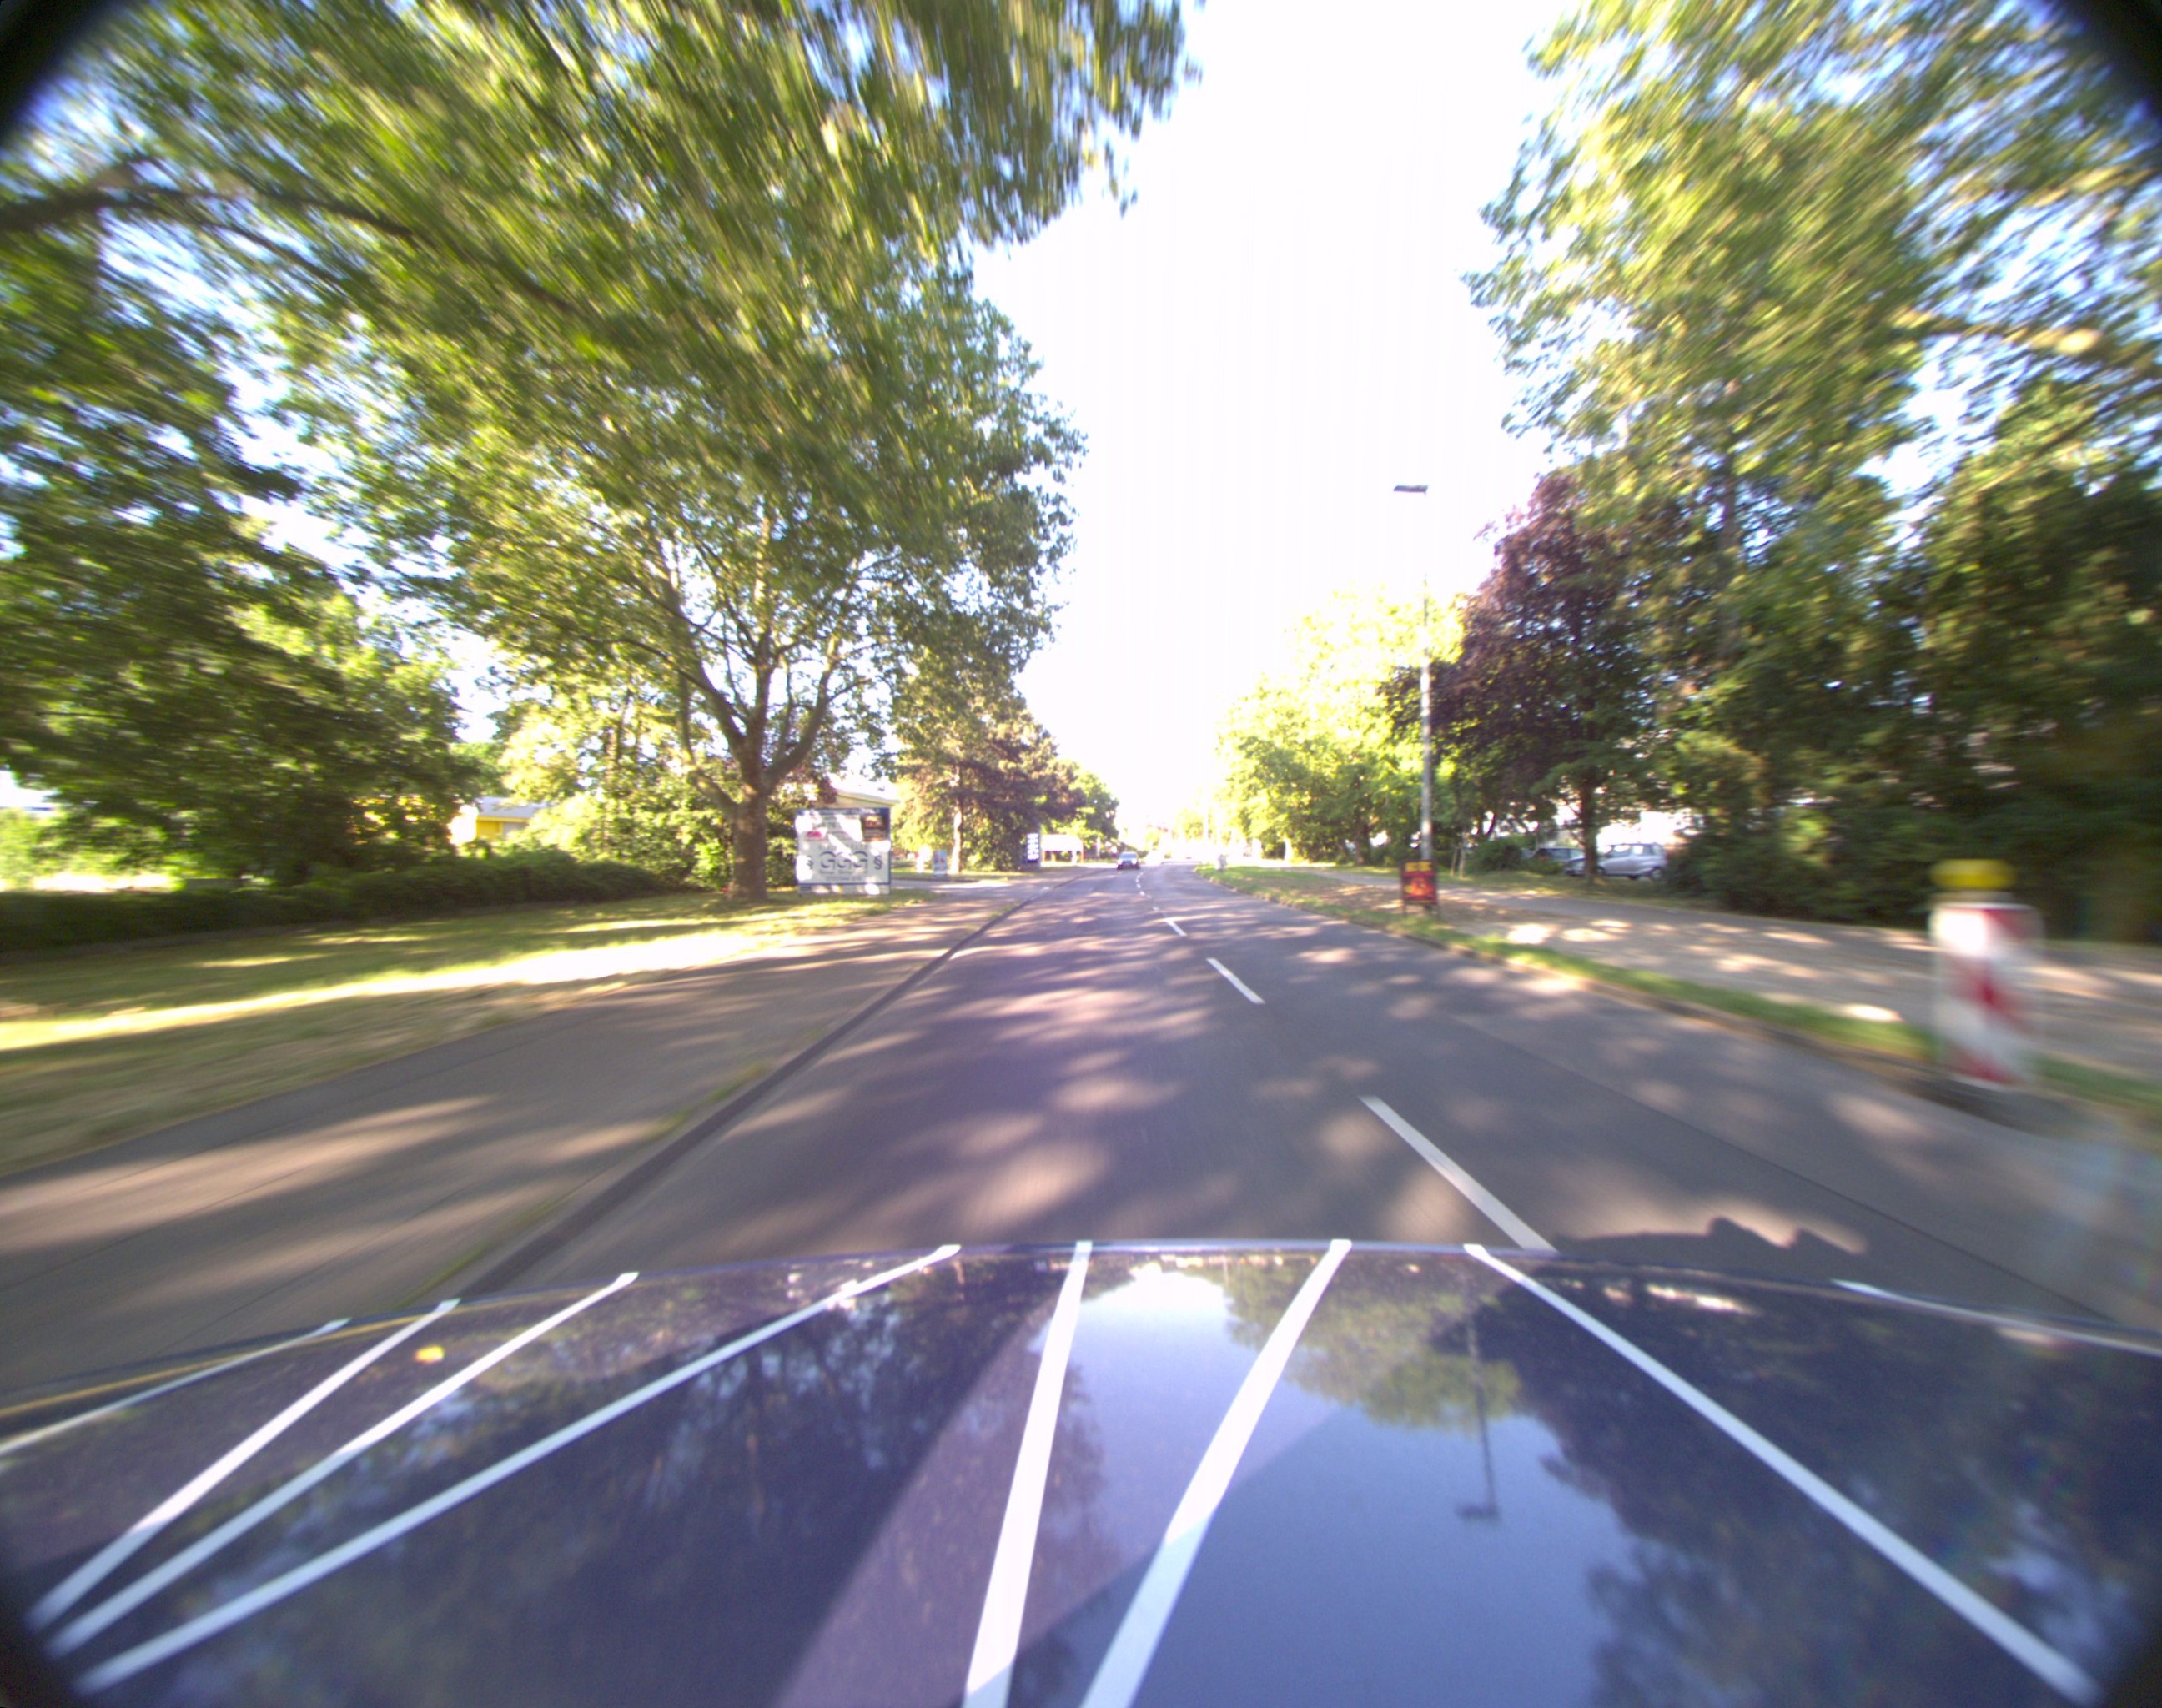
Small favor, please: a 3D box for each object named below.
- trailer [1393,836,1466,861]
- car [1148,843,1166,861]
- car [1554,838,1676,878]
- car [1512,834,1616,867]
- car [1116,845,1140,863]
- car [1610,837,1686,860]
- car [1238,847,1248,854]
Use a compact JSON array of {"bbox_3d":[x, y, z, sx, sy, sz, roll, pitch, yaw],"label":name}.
[{"bbox_3d":[23.223,-0.357,50.716,3.995,1.547,2.000,-1,1,5],"label":"trailer"},{"bbox_3d":[9.376,-0.291,93.313,1.933,2.002,4.001,-1,2,9],"label":"car"},{"bbox_3d":[23.403,0.146,33.406,3.996,1.592,1.929,-1,2,1],"label":"car"},{"bbox_3d":[24.215,-0.168,38.200,3.996,1.592,1.930,0,1,1],"label":"car"},{"bbox_3d":[4.010,-0.021,64.090,1.869,1.472,4.087,-1,1,5],"label":"car"},{"bbox_3d":[40.690,-0.410,54.634,3.996,1.592,1.929,-1,2,2],"label":"car"},{"bbox_3d":[38.034,-0.823,178.472,1.763,1.475,4.112,-3,0,16],"label":"car"}]
